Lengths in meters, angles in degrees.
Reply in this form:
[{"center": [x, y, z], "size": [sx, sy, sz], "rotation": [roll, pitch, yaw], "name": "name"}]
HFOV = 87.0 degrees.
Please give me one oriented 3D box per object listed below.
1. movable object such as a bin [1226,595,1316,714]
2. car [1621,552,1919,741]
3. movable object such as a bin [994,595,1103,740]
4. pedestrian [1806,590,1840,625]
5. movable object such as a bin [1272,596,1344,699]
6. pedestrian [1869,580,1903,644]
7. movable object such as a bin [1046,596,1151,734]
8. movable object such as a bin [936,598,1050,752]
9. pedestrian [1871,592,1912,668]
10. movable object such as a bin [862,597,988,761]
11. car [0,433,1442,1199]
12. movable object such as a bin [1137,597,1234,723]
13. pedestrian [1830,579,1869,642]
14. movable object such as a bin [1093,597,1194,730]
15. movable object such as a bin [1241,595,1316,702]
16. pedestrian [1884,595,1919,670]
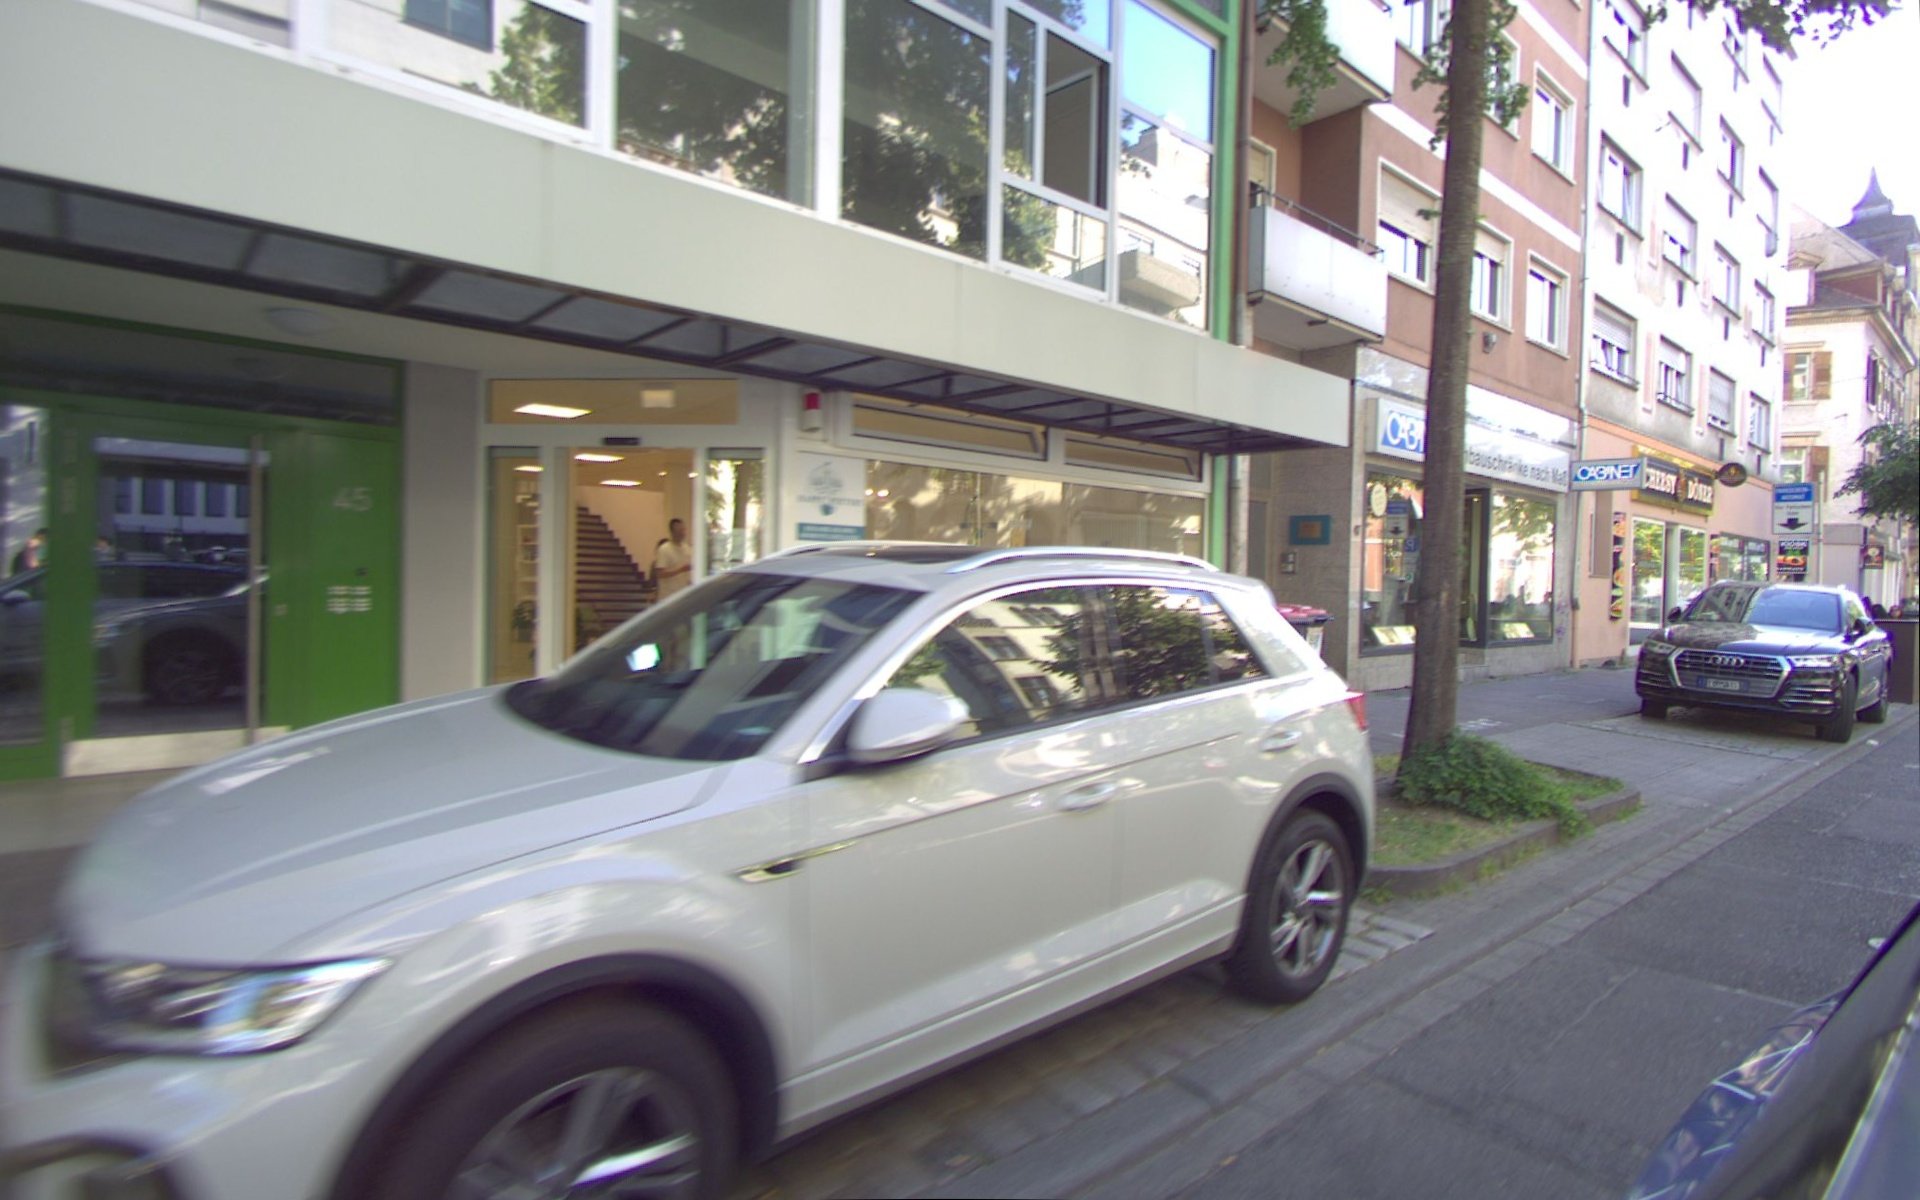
[{"center": [3.083, 0.514, 10.039], "size": [0.563, 1.108, 0.627], "rotation": [0, 2, -39], "name": "movable object such as a bin"}, {"center": [9.708, 0.410, 11.932], "size": [4.438, 1.709, 1.998], "rotation": [0, 5, -42], "name": "car"}, {"center": [0.703, 0.510, 8.074], "size": [0.579, 1.077, 0.615], "rotation": [0, 2, -39], "name": "movable object such as a bin"}, {"center": [32.195, 0.267, 37.755], "size": [0.701, 1.274, 0.589], "rotation": [1, 3, 10], "name": "pedestrian"}, {"center": [3.821, 0.500, 11.113], "size": [0.563, 1.077, 0.500], "rotation": [0, 2, -40], "name": "movable object such as a bin"}, {"center": [25.143, 0.318, 27.475], "size": [0.735, 1.665, 0.514], "rotation": [0, 3, -42], "name": "pedestrian"}, {"center": [1.152, 0.517, 8.459], "size": [0.579, 1.077, 0.615], "rotation": [0, 2, -39], "name": "movable object such as a bin"}, {"center": [0.248, 0.538, 7.688], "size": [0.579, 1.077, 0.615], "rotation": [0, 2, -39], "name": "movable object such as a bin"}, {"center": [17.306, 0.545, 18.804], "size": [0.584, 1.379, 0.473], "rotation": [0, 1, -40], "name": "pedestrian"}, {"center": [-0.252, 0.530, 7.244], "size": [0.643, 1.077, 0.615], "rotation": [0, 2, -39], "name": "movable object such as a bin"}, {"center": [-0.332, 0.496, 3.284], "size": [4.160, 1.545, 1.887], "rotation": [0, 4, -42], "name": "car"}, {"center": [2.054, 0.520, 9.226], "size": [0.579, 1.077, 0.612], "rotation": [0, 2, -39], "name": "movable object such as a bin"}, {"center": [24.634, 0.282, 28.039], "size": [0.735, 1.665, 0.643], "rotation": [0, 3, -42], "name": "pedestrian"}, {"center": [1.601, 0.527, 8.840], "size": [0.579, 1.077, 0.615], "rotation": [0, 2, -39], "name": "movable object such as a bin"}, {"center": [3.379, 0.493, 10.744], "size": [0.563, 1.077, 0.500], "rotation": [0, 2, -40], "name": "movable object such as a bin"}, {"center": [18.029, 0.612, 19.276], "size": [0.584, 1.396, 0.553], "rotation": [0, 1, -40], "name": "pedestrian"}]
